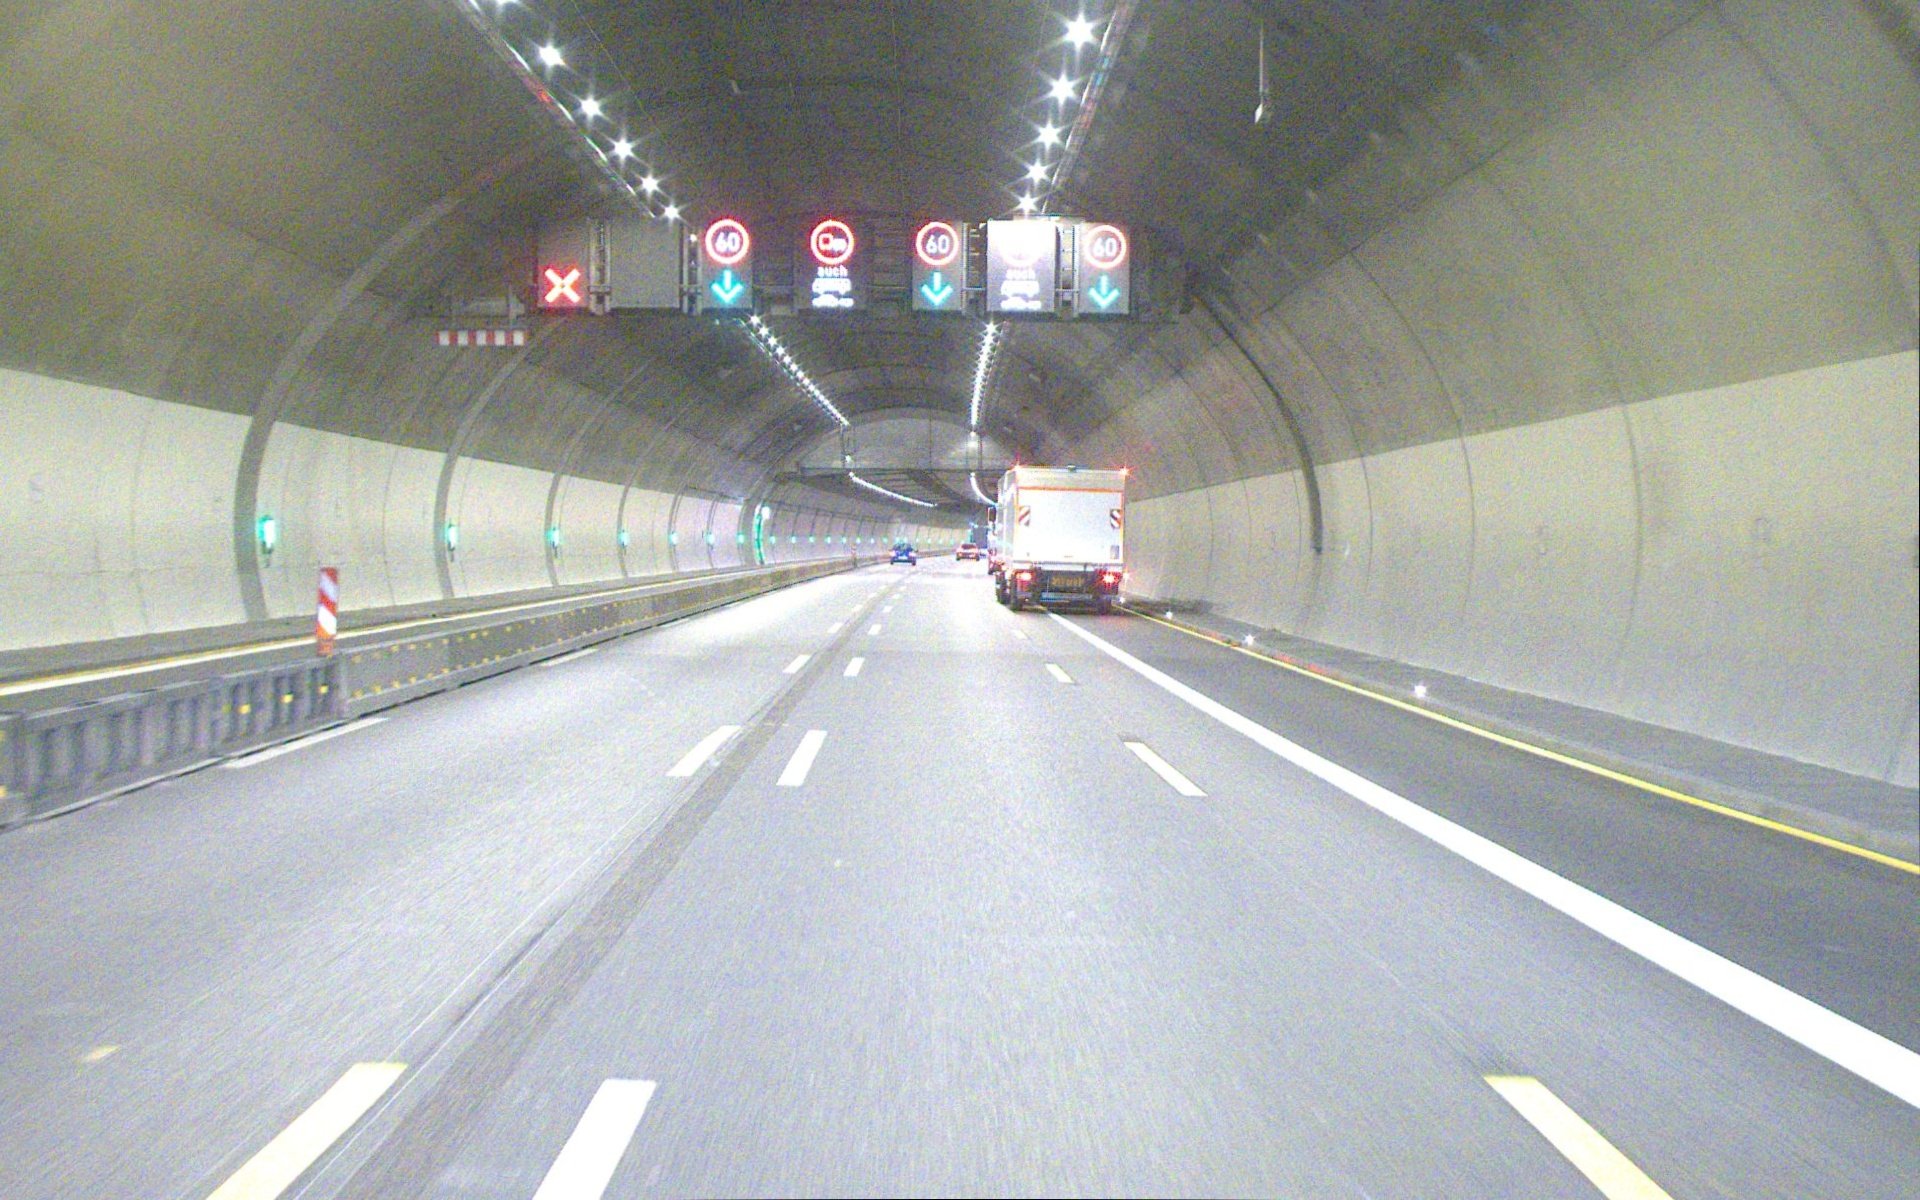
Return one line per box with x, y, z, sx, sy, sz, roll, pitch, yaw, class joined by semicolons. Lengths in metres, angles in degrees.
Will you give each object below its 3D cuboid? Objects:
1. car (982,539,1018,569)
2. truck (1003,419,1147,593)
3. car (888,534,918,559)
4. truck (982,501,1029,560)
2.033;-2.315;172.799;1.739;1.456;3.960;1;2;1;car
2.680;-2.160;83.431;3.092;3.904;10.368;1;0;0;truck
-3.559;-3.356;214.333;1.758;1.456;4.119;1;2;0;car
3.206;-4.807;240.074;3.066;3.904;10.367;1;0;1;truck
